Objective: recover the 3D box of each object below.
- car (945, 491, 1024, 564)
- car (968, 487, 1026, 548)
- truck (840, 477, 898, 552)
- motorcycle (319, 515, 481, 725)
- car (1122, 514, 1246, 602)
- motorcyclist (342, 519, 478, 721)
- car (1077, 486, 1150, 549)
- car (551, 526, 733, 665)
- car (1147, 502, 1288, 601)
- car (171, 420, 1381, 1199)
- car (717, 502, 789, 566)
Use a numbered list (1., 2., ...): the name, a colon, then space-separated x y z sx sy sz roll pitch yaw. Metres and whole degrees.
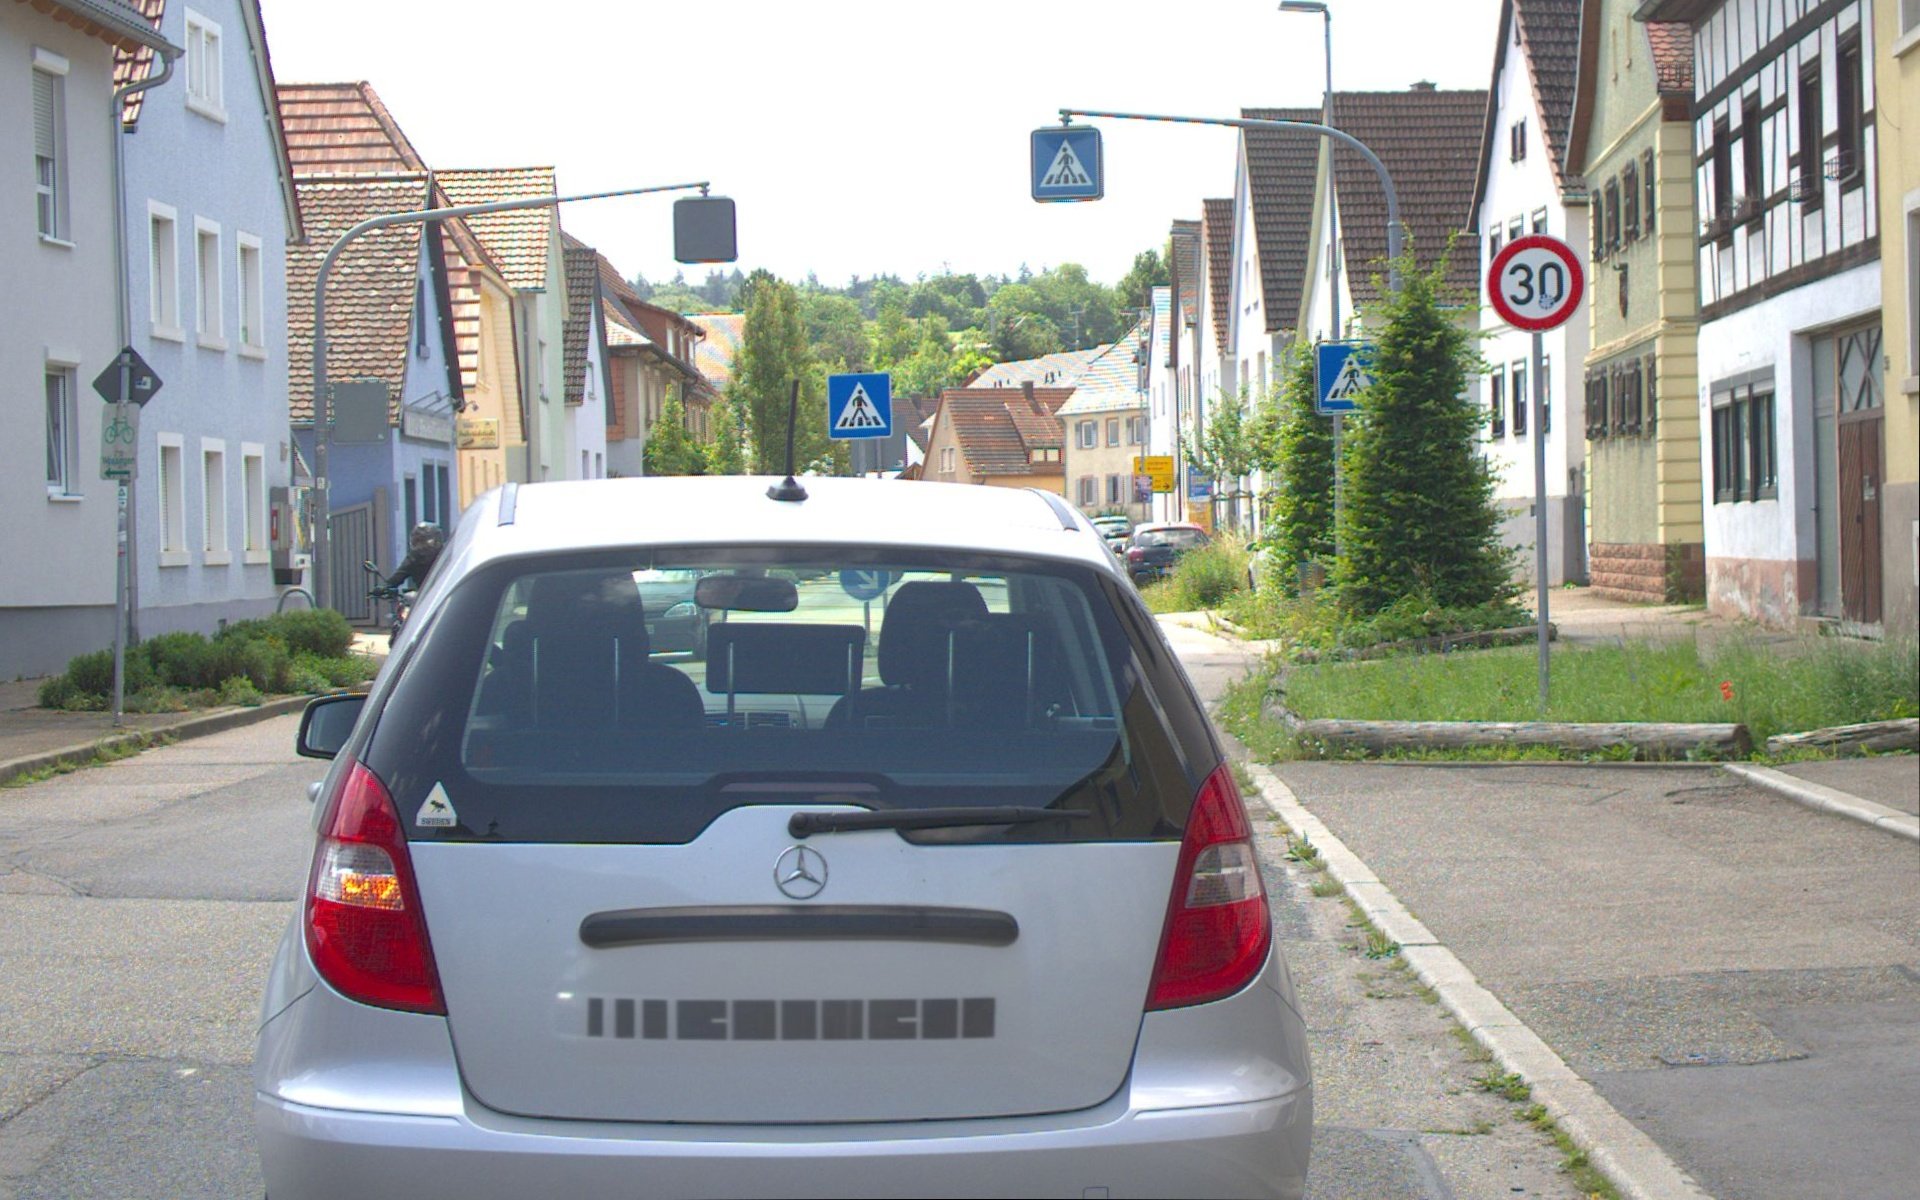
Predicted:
1. car: 0.631 -1.900 91.454 1.993 1.810 4.000 0 -1 -1
2. car: 1.299 -2.885 121.203 1.993 2.007 4.000 0 -1 0
3. truck: -3.310 -3.098 126.204 1.993 2.528 6.739 0 -1 -1
4. motorcycle: -4.307 0.127 26.580 0.880 1.555 1.967 0 2 1
5. car: 4.020 -0.737 62.311 1.993 1.503 4.000 0 -1 0
6. motorcyclist: -4.288 0.142 26.858 0.896 1.549 0.807 0 1 2
7. car: 4.714 -2.528 105.879 1.993 1.810 4.000 0 -1 -1
8. car: -3.778 -0.037 41.421 1.500 1.535 3.856 2 0 4
9. car: 4.125 -0.763 55.652 1.993 1.503 4.000 0 -1 0
10. car: -0.485 0.543 7.050 1.810 1.638 3.730 1 1 -7
11. car: -5.505 -1.739 91.728 1.667 1.590 4.000 0 -1 0
